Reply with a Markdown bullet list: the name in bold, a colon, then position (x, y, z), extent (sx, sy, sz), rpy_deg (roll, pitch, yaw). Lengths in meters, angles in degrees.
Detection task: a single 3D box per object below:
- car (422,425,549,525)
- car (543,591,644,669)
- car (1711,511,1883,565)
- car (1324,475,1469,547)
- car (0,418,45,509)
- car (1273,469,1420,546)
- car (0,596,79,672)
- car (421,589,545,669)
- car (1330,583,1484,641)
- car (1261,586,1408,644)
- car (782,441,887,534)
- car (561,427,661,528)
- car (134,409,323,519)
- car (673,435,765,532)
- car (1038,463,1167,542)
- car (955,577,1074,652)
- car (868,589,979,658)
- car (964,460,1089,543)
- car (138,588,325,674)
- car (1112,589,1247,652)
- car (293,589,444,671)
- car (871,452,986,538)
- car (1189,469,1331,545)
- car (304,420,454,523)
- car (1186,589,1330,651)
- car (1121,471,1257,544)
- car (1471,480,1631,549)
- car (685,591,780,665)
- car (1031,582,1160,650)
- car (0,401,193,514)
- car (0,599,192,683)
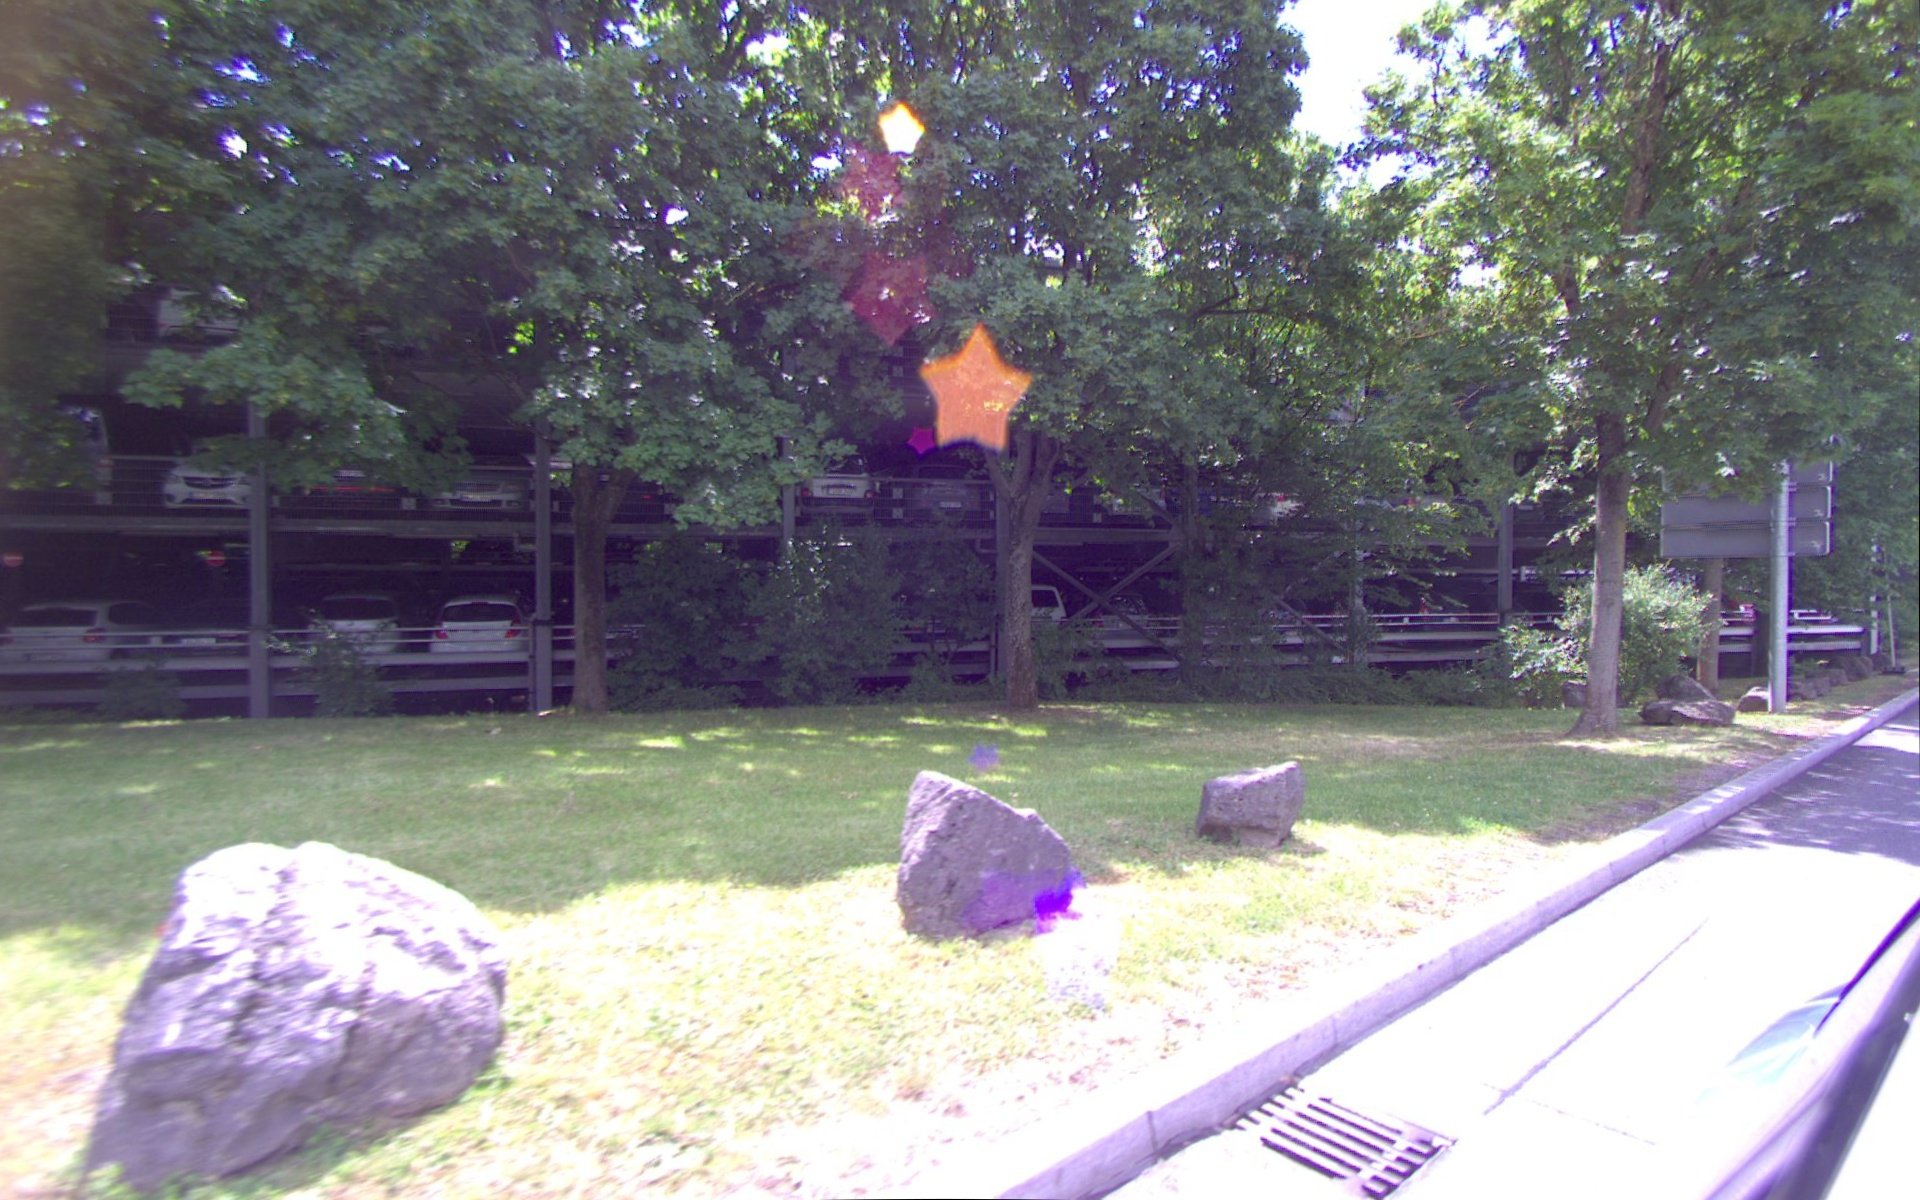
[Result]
- **car**: position (-9.472, -2.428, 20.459), extent (1.691, 1.561, 3.712), rpy_deg (2, 1, -16)
- **car**: position (-7.491, 0.551, 20.968), extent (1.739, 1.409, 3.807), rpy_deg (0, 1, -17)
- **car**: position (25.312, -1.834, 30.750), extent (1.624, 1.429, 3.712), rpy_deg (2, 1, -16)
- **car**: position (11.873, -2.366, 27.793), extent (1.624, 1.640, 3.712), rpy_deg (2, 1, -16)
- **car**: position (-17.953, -2.516, 17.475), extent (1.691, 1.561, 3.712), rpy_deg (2, 1, -16)
- **car**: position (9.957, -2.336, 26.383), extent (1.624, 1.640, 3.712), rpy_deg (2, 1, -16)
- **car**: position (-18.402, 0.619, 18.743), extent (1.739, 1.308, 3.807), rpy_deg (0, 1, -17)
- **car**: position (-9.585, 0.520, 20.596), extent (1.739, 1.409, 3.807), rpy_deg (0, 1, -17)
- **car**: position (11.946, 0.269, 27.320), extent (1.659, 1.409, 3.866), rpy_deg (0, 1, -17)
- **car**: position (9.889, 0.347, 27.059), extent (1.659, 1.409, 3.866), rpy_deg (0, 1, -17)
- **car**: position (-2.863, -2.395, 22.459), extent (1.691, 1.640, 3.712), rpy_deg (2, 1, -16)
- **car**: position (-7.161, -2.444, 21.054), extent (1.691, 1.640, 3.712), rpy_deg (2, 1, -16)
- **car**: position (-13.630, -2.457, 19.123), extent (1.691, 1.561, 3.712), rpy_deg (2, 1, -16)
- **car**: position (-5.284, -2.422, 21.881), extent (1.691, 1.640, 3.712), rpy_deg (2, 1, -16)
- **car**: position (3.391, -2.307, 24.754), extent (1.691, 1.561, 3.712), rpy_deg (2, 1, -16)
- **car**: position (1.232, 0.289, 24.589), extent (1.659, 1.646, 3.866), rpy_deg (0, 1, -17)
- **car**: position (-0.937, 0.490, 23.698), extent (1.659, 1.409, 3.866), rpy_deg (0, 1, -17)
- **car**: position (1.462, -2.216, 23.629), extent (1.691, 1.561, 3.712), rpy_deg (2, 1, -16)
- **car**: position (-13.623, 0.509, 19.192), extent (1.739, 1.409, 3.807), rpy_deg (0, 1, -17)
- **car**: position (5.443, 0.451, 25.584), extent (1.659, 1.409, 3.866), rpy_deg (0, 1, -17)
- **car**: position (-11.561, 0.522, 20.060), extent (1.739, 1.409, 3.807), rpy_deg (0, 1, -17)
- **car**: position (-0.803, -2.318, 23.084), extent (1.691, 1.561, 3.712), rpy_deg (2, 1, -16)
- **car**: position (7.454, -2.262, 25.479), extent (1.624, 1.582, 3.712), rpy_deg (2, 1, -16)
- **car**: position (-11.393, -2.456, 20.109), extent (1.691, 1.561, 3.712), rpy_deg (2, 1, -16)
- **car**: position (7.489, 0.446, 25.820), extent (1.659, 1.409, 3.866), rpy_deg (0, 1, -17)
- **car**: position (5.547, -2.205, 24.972), extent (1.624, 1.449, 3.712), rpy_deg (2, 1, -16)
- **car**: position (16.446, -2.324, 28.375), extent (1.624, 1.640, 3.712), rpy_deg (2, 1, -16)
- **car**: position (-5.047, 0.548, 22.111), extent (1.739, 1.409, 3.807), rpy_deg (0, 1, -17)
- **car**: position (3.218, 0.329, 24.761), extent (1.659, 1.508, 3.866), rpy_deg (0, 1, -17)
- **car**: position (-15.893, -2.523, 18.520), extent (1.691, 1.561, 3.712), rpy_deg (2, 1, -16)
- **car**: position (-16.064, 0.682, 18.727), extent (1.739, 1.308, 3.807), rpy_deg (0, 1, -17)
